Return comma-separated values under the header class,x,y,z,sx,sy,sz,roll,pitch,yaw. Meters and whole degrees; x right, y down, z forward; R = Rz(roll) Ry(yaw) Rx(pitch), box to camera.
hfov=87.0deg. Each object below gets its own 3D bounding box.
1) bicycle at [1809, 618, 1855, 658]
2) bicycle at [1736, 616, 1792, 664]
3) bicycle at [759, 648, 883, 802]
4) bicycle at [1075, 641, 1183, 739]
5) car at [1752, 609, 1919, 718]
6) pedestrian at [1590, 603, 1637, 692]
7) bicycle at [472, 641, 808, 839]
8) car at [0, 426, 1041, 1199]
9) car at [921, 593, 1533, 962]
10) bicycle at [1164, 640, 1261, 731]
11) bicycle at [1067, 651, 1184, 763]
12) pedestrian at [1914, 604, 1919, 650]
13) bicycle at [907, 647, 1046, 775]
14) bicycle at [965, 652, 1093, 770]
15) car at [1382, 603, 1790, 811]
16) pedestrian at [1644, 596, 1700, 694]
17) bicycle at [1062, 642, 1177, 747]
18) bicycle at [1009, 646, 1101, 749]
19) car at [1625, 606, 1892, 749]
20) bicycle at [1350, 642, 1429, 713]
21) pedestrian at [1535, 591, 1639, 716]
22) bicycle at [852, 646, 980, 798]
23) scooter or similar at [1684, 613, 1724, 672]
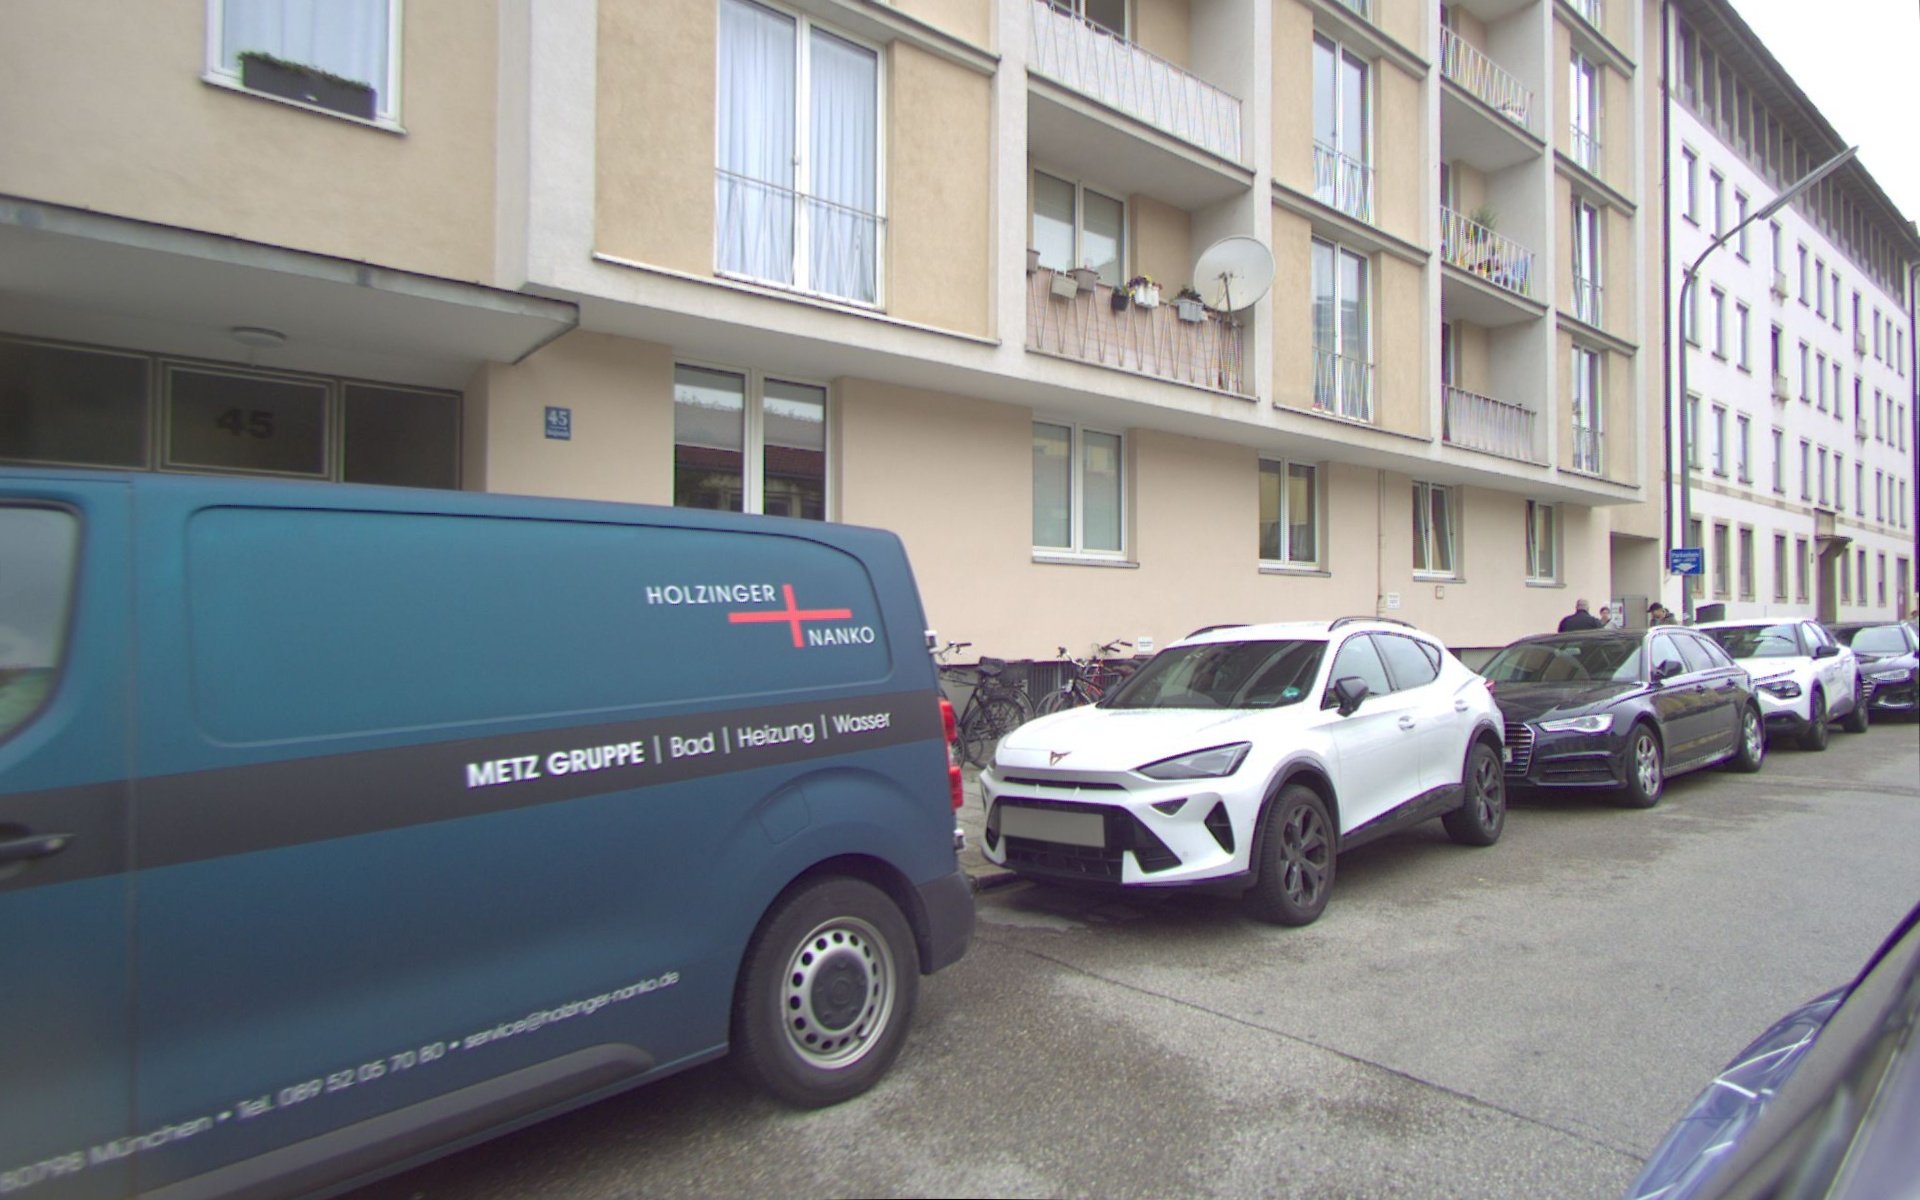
class,x,y,z,sx,sy,sz,roll,pitch,yaw
bicycle,26.382,1.128,30.597,1.991,1.140,0.661,1,0,-38
bicycle,20.831,1.030,26.211,1.991,1.178,0.661,1,0,-38
bicycle,-1.165,1.024,8.753,0.527,1.147,1.401,1,0,16
bicycle,1.975,1.018,11.721,1.375,1.036,0.391,1,0,-38
car,13.835,0.916,15.424,4.402,1.439,1.799,1,-4,-40
pedestrian,12.222,0.873,18.928,0.550,1.604,0.533,1,1,-37
bicycle,-2.386,0.951,7.695,2.168,1.201,1.148,1,-1,-40
car,-2.187,0.648,2.776,4.850,1.840,1.966,0,-4,-42
car,1.922,0.820,6.402,4.202,1.558,1.739,0,-5,-44
bicycle,3.143,1.034,12.537,1.375,1.036,0.391,1,0,-38
bicycle,1.720,1.072,10.418,1.277,1.036,0.424,1,0,-38
pedestrian,35.430,1.001,36.925,0.812,1.646,0.736,1,0,-37
bicycle,0.181,1.073,10.145,1.384,1.147,0.533,2,-1,-42
bicycle,0.672,1.039,9.720,1.174,1.036,0.425,1,0,-31
car,5.991,0.830,9.482,4.412,1.519,1.743,0,-3,-38
pedestrian,12.575,0.783,17.878,0.619,1.674,0.598,1,1,-37
bicycle,1.752,1.002,11.025,1.375,1.036,0.391,1,0,-38
bicycle,1.038,1.036,10.979,0.983,1.036,0.374,1,0,-39
car,10.119,0.882,12.720,4.143,1.519,1.742,1,-3,-40
bicycle,6.342,1.122,14.925,1.375,0.947,0.445,1,0,-38
pedestrian,9.062,0.738,14.622,1.296,1.709,0.900,1,0,-39
bicycle,-0.346,1.004,8.832,0.709,1.147,1.422,0,-1,16
scooter or similar,17.381,0.983,23.642,0.599,1.267,1.023,2,4,44
